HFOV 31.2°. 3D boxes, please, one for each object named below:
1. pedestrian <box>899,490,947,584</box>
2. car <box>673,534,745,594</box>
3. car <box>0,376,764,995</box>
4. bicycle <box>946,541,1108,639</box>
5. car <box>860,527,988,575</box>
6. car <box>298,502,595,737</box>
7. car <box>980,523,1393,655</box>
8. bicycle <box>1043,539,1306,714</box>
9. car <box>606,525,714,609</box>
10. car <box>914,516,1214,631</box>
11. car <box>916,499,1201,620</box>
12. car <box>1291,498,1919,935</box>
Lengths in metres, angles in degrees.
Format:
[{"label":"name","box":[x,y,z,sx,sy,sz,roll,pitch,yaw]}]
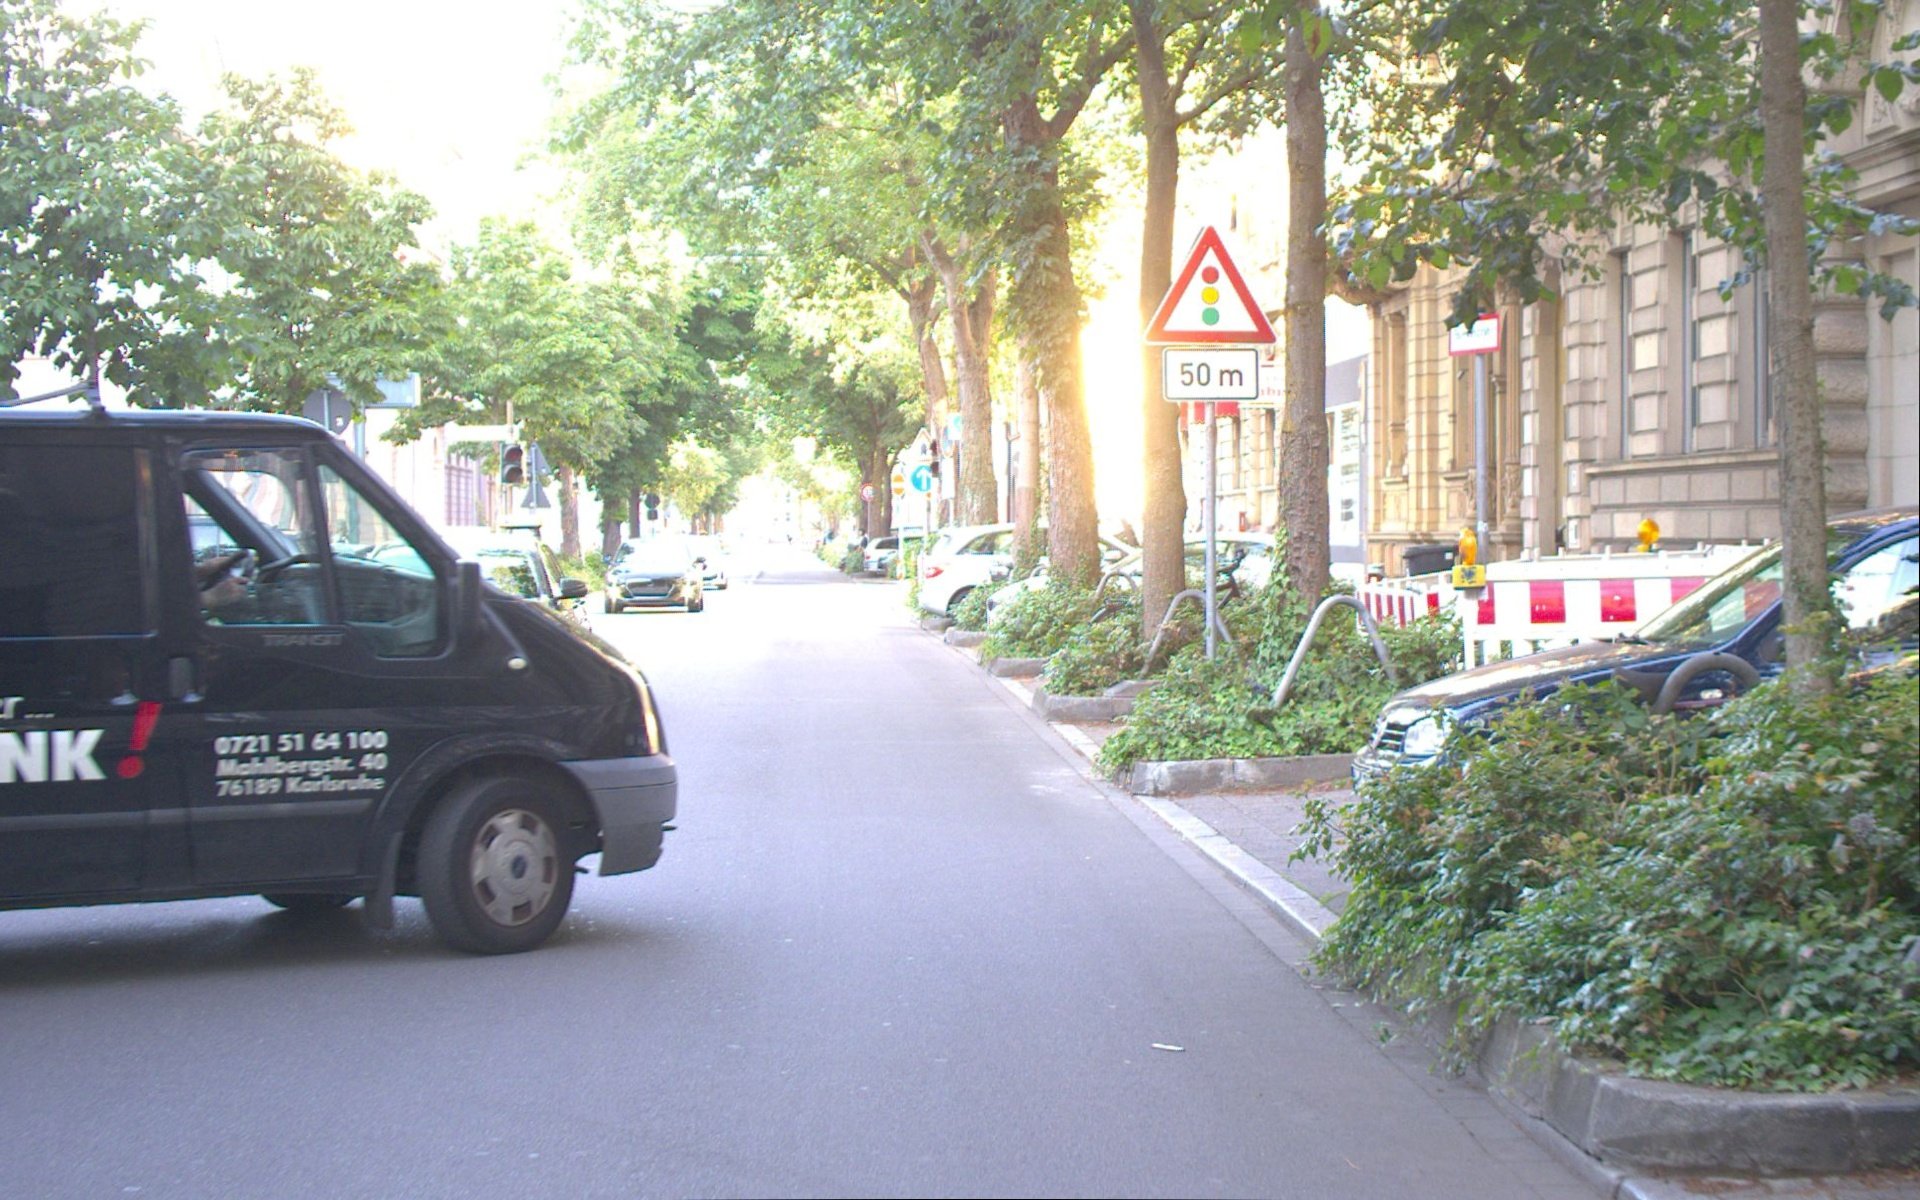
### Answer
[{"label":"pedestrian","box":[-0.863,-1.452,79.358,1.043,2.139,1.063,1,0,-2]},{"label":"car","box":[-6.741,-0.998,92.469,1.876,1.543,4.276,-1,1,-4]},{"label":"car","box":[-3.411,0.246,12.082,4.990,1.984,2.190,-1,2,-31]},{"label":"bicycle","box":[0.881,-0.137,44.978,2.019,1.200,0.488,-2,1,-15]},{"label":"car","box":[-1.224,-1.652,115.792,4.192,1.475,1.852,-2,1,-2]},{"label":"car","box":[-3.875,0.086,26.649,1.876,1.635,4.647,-1,1,-4]},{"label":"car","box":[2.544,-0.144,39.409,4.583,1.432,1.925,0,1,-1]},{"label":"bicycle","box":[1.734,0.212,27.889,2.046,1.356,0.508,1,1,-4]},{"label":"car","box":[-5.735,-0.662,66.078,1.877,1.543,4.276,-1,1,-3]},{"label":"car","box":[1.487,-0.400,49.653,4.224,1.555,1.971,-1,2,1]},{"label":"car","box":[1.608,-0.692,57.273,4.539,1.908,1.951,-1,1,-5]},{"label":"car","box":[3.554,0.354,13.436,4.223,1.476,1.855,-3,1,-2]}]
